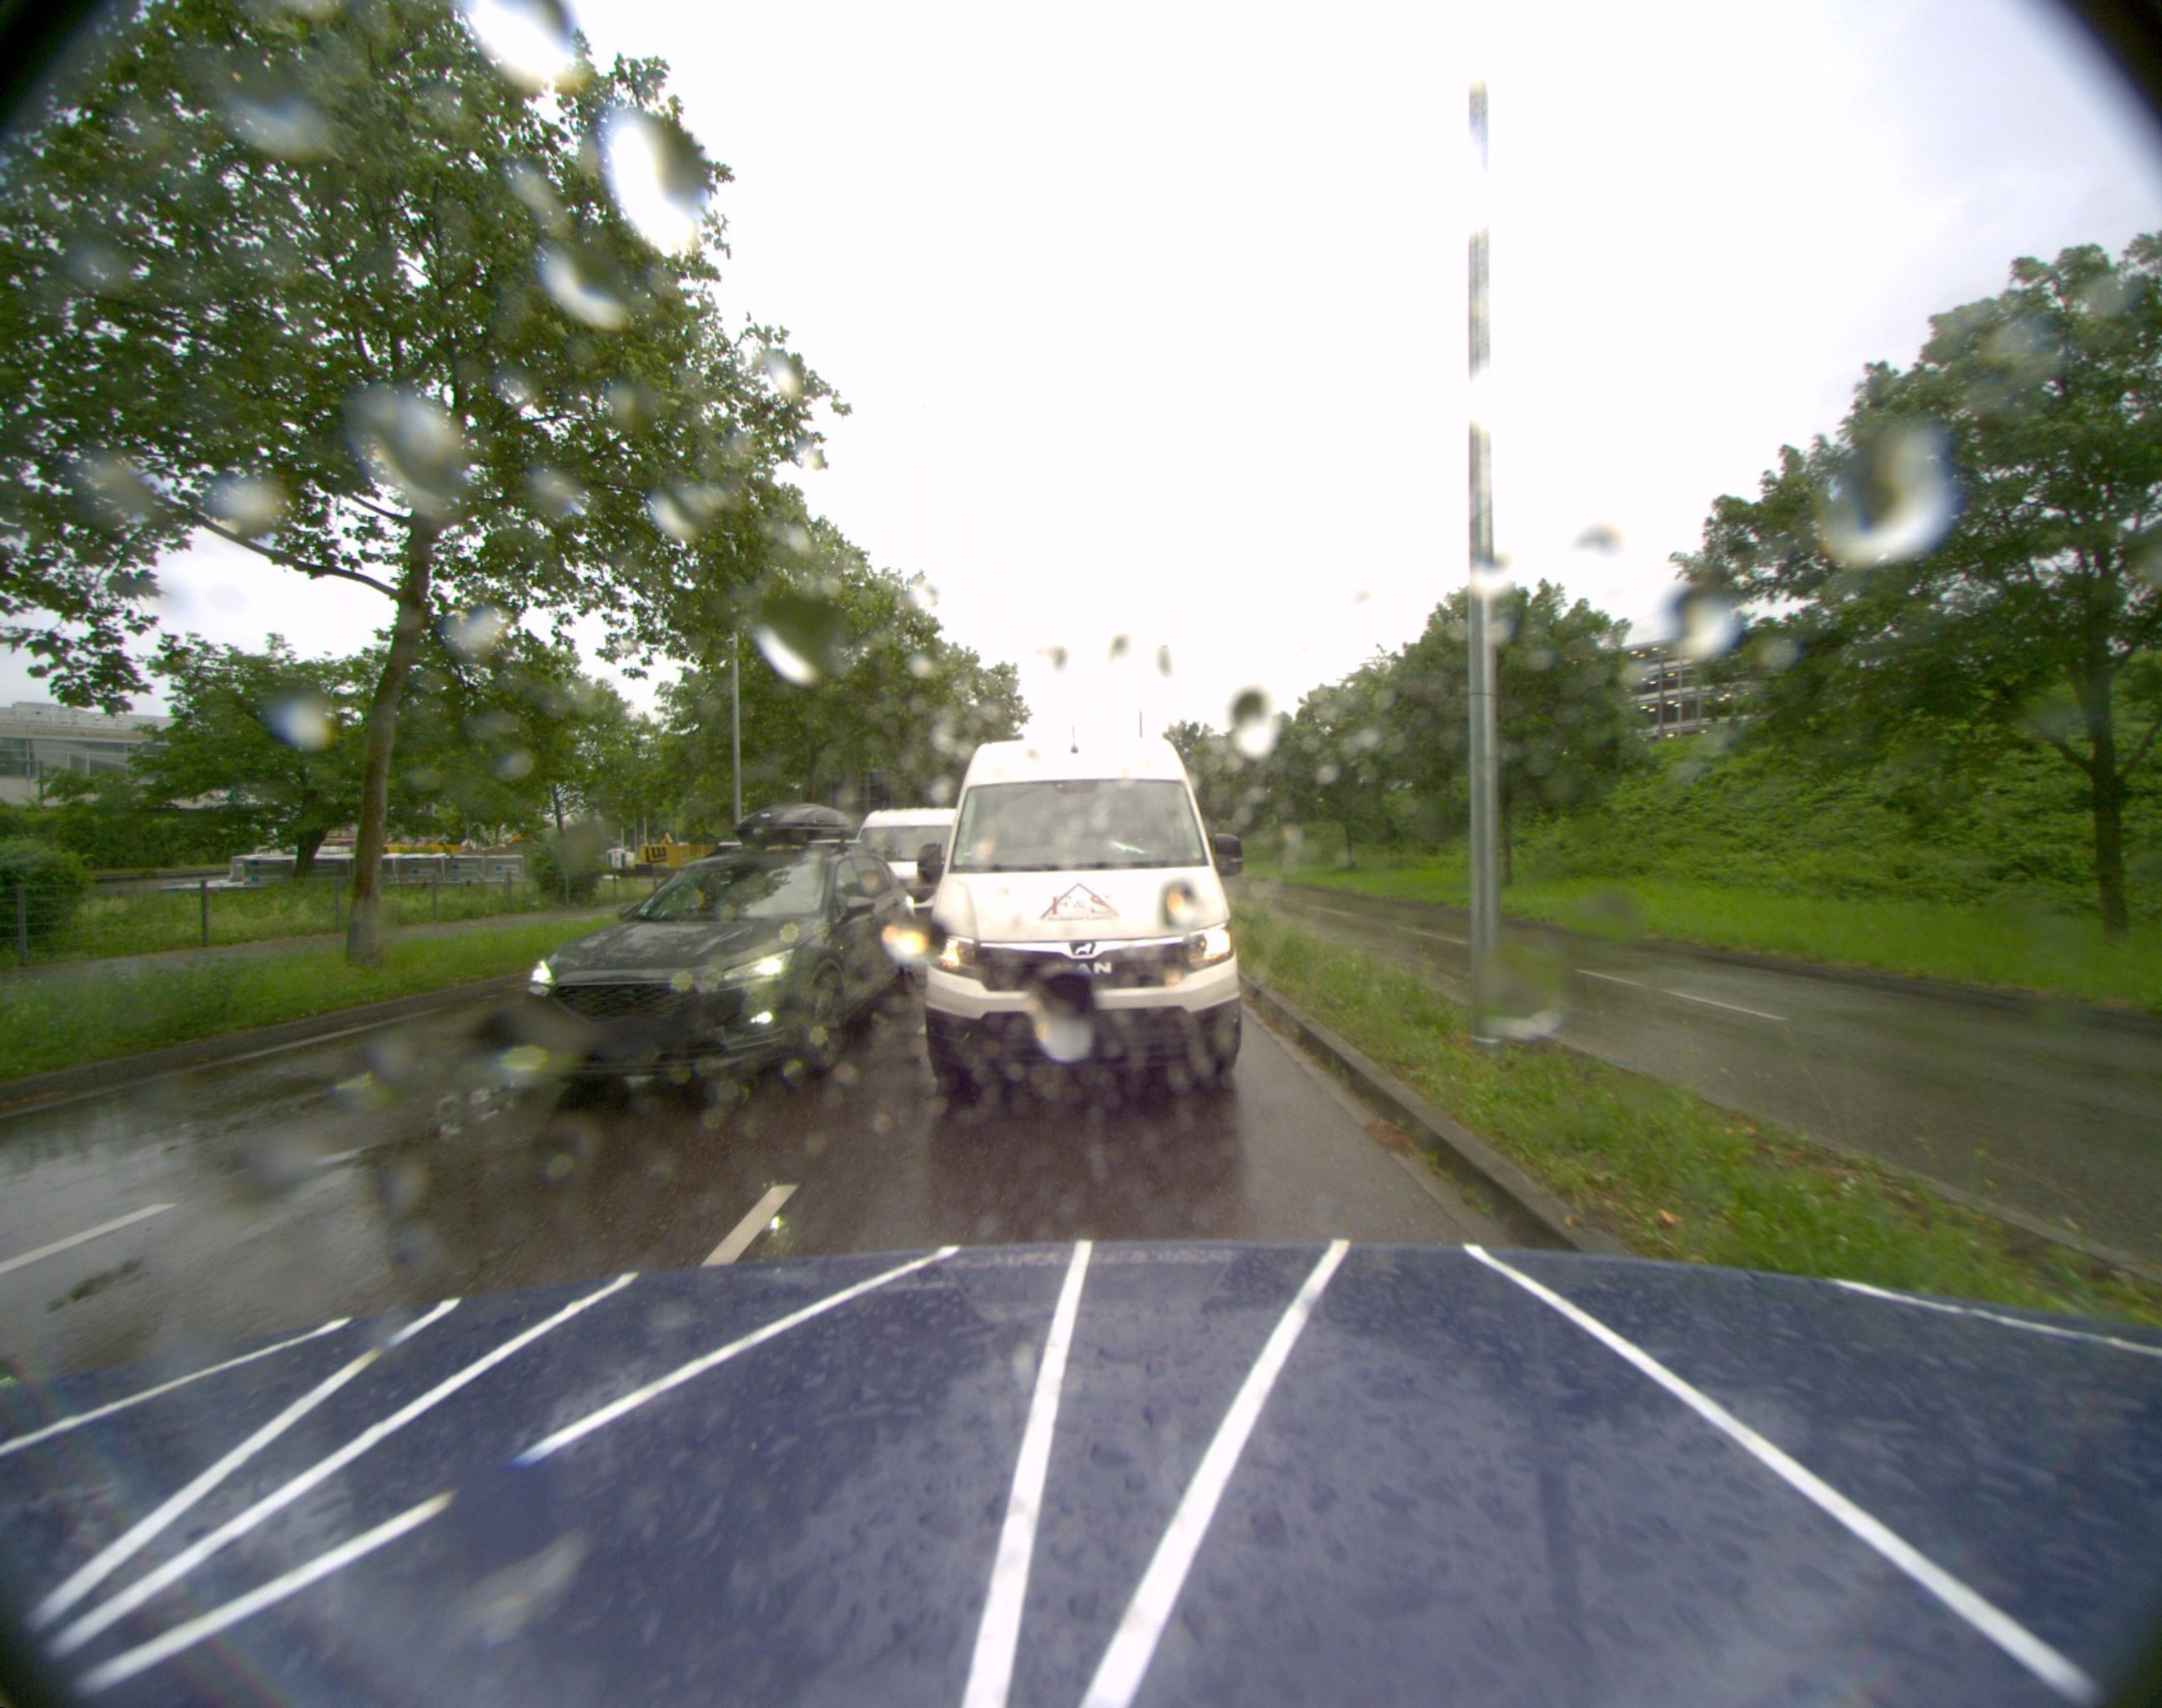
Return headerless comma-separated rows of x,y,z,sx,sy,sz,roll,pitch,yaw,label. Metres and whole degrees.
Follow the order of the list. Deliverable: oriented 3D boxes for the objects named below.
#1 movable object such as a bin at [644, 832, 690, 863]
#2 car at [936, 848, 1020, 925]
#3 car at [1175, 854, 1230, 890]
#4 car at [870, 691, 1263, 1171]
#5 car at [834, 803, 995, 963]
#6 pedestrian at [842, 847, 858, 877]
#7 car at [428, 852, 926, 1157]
-47.459,-0.757,87.133,4.926,3.415,1.921,-2,2,24,movable object such as a bin
-2.782,0.802,21.480,1.807,1.902,4.546,-1,1,-1,car
5.407,0.764,34.204,1.820,1.454,3.999,2,1,0,car
-0.116,0.386,6.857,2.027,2.498,5.694,-1,1,-1,car
-2.868,0.426,14.394,1.894,2.432,5.317,-1,1,-1,car
-13.438,0.448,44.286,0.646,1.707,0.656,-2,2,1,pedestrian
-2.754,0.855,6.552,1.894,1.688,4.423,-1,1,0,car
